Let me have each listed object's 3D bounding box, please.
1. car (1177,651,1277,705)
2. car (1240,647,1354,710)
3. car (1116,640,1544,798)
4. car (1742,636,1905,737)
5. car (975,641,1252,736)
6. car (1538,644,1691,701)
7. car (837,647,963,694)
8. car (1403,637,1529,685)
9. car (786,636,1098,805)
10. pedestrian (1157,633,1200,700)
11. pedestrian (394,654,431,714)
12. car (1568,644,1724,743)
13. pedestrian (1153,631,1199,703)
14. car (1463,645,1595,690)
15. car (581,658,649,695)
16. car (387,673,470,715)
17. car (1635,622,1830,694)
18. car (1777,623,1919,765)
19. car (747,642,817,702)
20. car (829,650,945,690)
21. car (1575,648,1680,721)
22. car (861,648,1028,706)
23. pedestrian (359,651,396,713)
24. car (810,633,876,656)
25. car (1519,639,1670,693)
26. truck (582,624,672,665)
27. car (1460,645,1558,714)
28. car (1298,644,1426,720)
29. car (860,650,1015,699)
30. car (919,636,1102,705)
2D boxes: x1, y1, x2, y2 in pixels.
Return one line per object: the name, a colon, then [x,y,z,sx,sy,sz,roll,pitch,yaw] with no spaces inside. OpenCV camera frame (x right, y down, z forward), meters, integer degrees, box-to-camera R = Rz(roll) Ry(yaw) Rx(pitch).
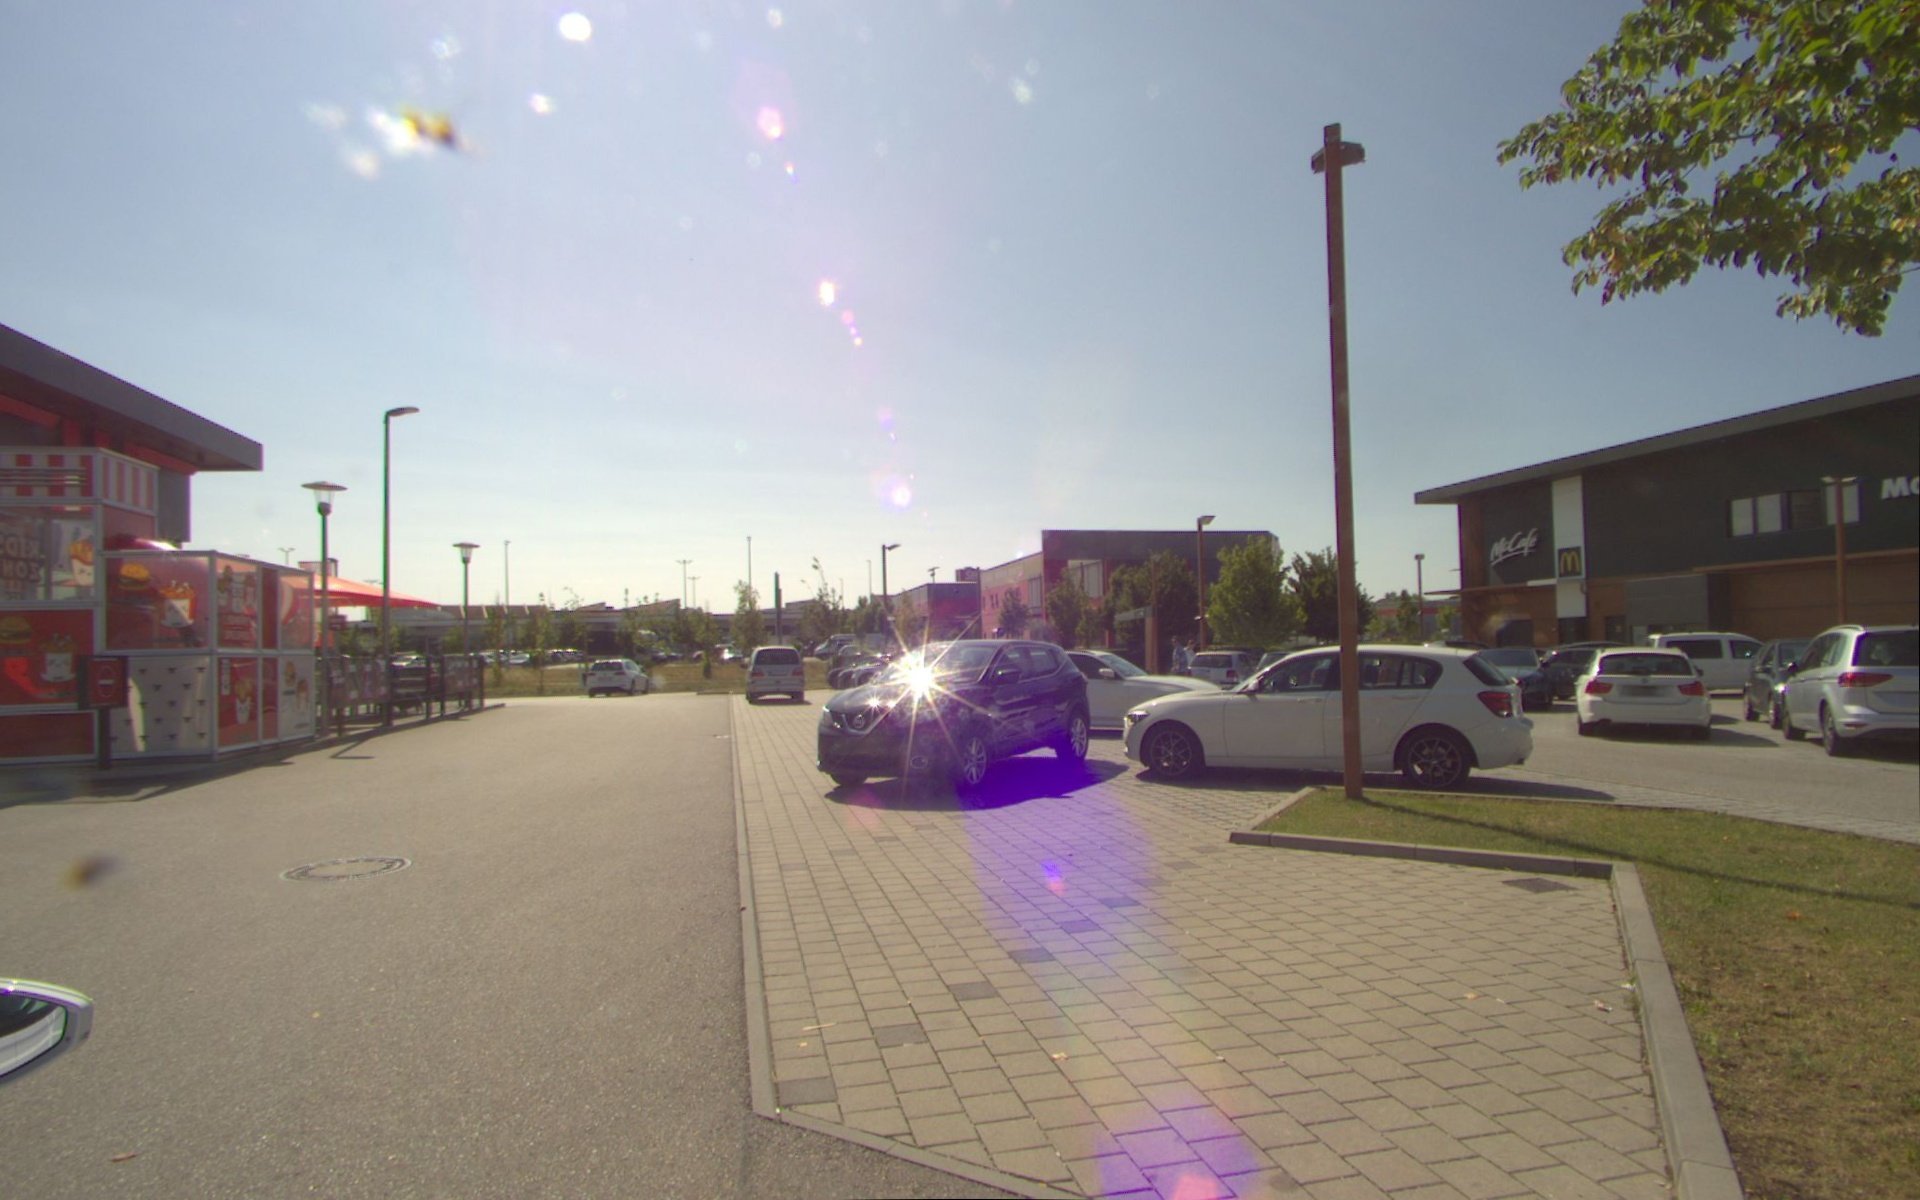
car: [7.879,2.243,29.312,1.683,1.443,3.883,-2,-3,33]
car: [9.236,2.065,27.212,1.956,1.530,4.396,-2,-3,32]
car: [3.994,1.204,11.031,4.124,1.443,1.837,-2,-3,29]
car: [15.421,1.475,18.093,1.788,1.613,3.977,-2,-3,35]
car: [2.648,1.497,17.499,4.403,1.490,1.908,-2,-3,28]
car: [18.180,2.026,27.971,3.362,1.500,1.563,-3,-3,27]
car: [-2.090,2.447,34.893,3.986,1.575,1.803,-2,-3,21]
car: [19.534,2.369,38.779,3.962,1.727,1.675,-2,-2,8]
car: [-0.012,1.245,11.716,1.732,1.596,4.067,-2,-3,32]
pedestrian: [6.502,1.968,29.776,0.893,1.940,0.911,-3,-3,42]
pedestrian: [-12.038,1.827,22.014,0.589,1.285,0.681,1,-3,-39]
car: [11.297,1.481,16.736,1.767,1.425,4.066,-2,-4,30]
pedestrian: [5.922,1.830,27.487,1.009,1.940,0.903,-1,-2,-2]
car: [20.123,2.383,35.566,3.704,1.462,1.674,-2,-3,15]
car: [-14.053,3.088,40.994,1.852,1.415,4.156,0,-3,-8]
car: [-21.283,3.746,40.280,1.655,1.472,3.757,-1,-3,-6]
car: [21.928,1.661,28.645,4.079,1.945,1.753,-2,-3,26]
car: [12.460,1.183,13.415,1.723,1.660,4.049,-2,-4,31]
car: [-5.836,2.287,32.422,2.034,1.771,4.366,0,-3,-12]
car: [-2.776,2.664,38.104,4.020,1.440,1.793,-2,-3,25]
car: [15.160,1.849,22.773,1.804,1.467,4.054,-2,-3,34]
car: [-0.401,2.119,27.673,4.273,1.530,1.778,-2,-2,16]
pedestrian: [-12.547,1.754,21.569,0.589,1.285,0.681,1,-3,-39]
car: [-12.067,4.605,102.899,6.452,2.272,2.299,0,-2,-14]
car: [20.429,2.140,32.396,3.778,1.652,1.755,-2,-3,20]
truck: [-28.526,3.792,85.695,7.434,3.394,2.418,-1,-2,20]
car: [13.695,1.908,24.848,1.861,1.530,4.521,-2,-3,32]
car: [9.259,1.799,22.854,1.956,1.530,4.396,-2,-3,32]
car: [-0.728,2.297,31.091,4.613,1.428,1.705,-2,-3,30]
car: [1.198,1.645,23.516,3.932,1.507,1.817,-2,-3,22]
